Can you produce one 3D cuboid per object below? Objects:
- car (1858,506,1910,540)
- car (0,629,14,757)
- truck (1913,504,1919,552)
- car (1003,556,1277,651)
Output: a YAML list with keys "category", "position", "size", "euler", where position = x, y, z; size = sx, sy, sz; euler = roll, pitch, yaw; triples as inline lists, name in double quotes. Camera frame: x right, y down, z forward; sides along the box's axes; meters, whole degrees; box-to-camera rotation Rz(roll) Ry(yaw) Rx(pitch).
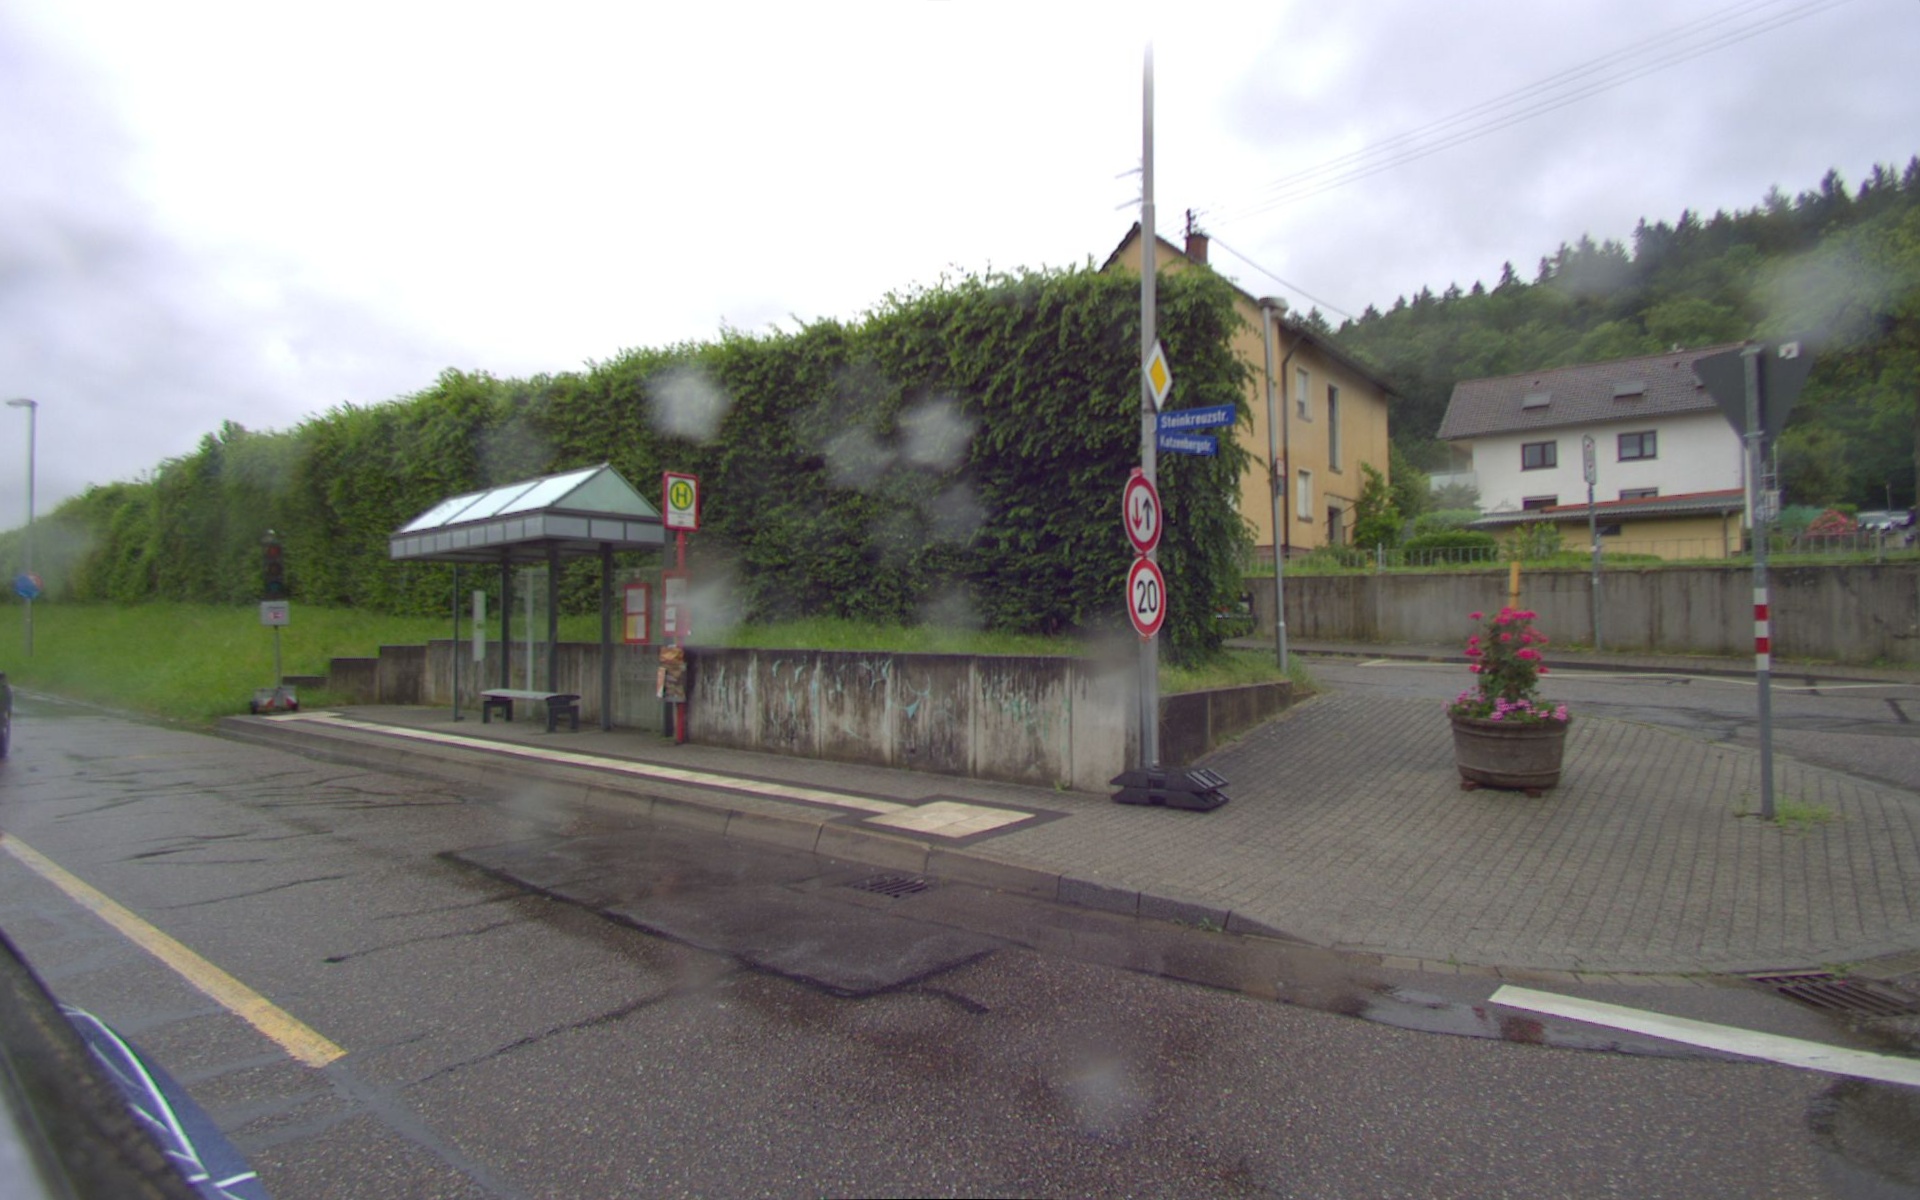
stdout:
- category: "car"
  position: [58.807, -4.866, 64.460]
  size: [1.912, 2.028, 3.953]
  euler: [-1, 2, 35]
- category: "car"
  position: [-10.812, 1.010, 9.967]
  size: [1.823, 1.463, 4.540]
  euler: [3, -3, -39]
- category: "truck"
  position: [43.711, -3.230, 44.332]
  size: [2.297, 2.142, 6.002]
  euler: [-1, 1, 38]
- category: "car"
  position: [2.937, -0.007, 16.995]
  size: [4.218, 1.399, 1.727]
  euler: [2, 1, 39]
